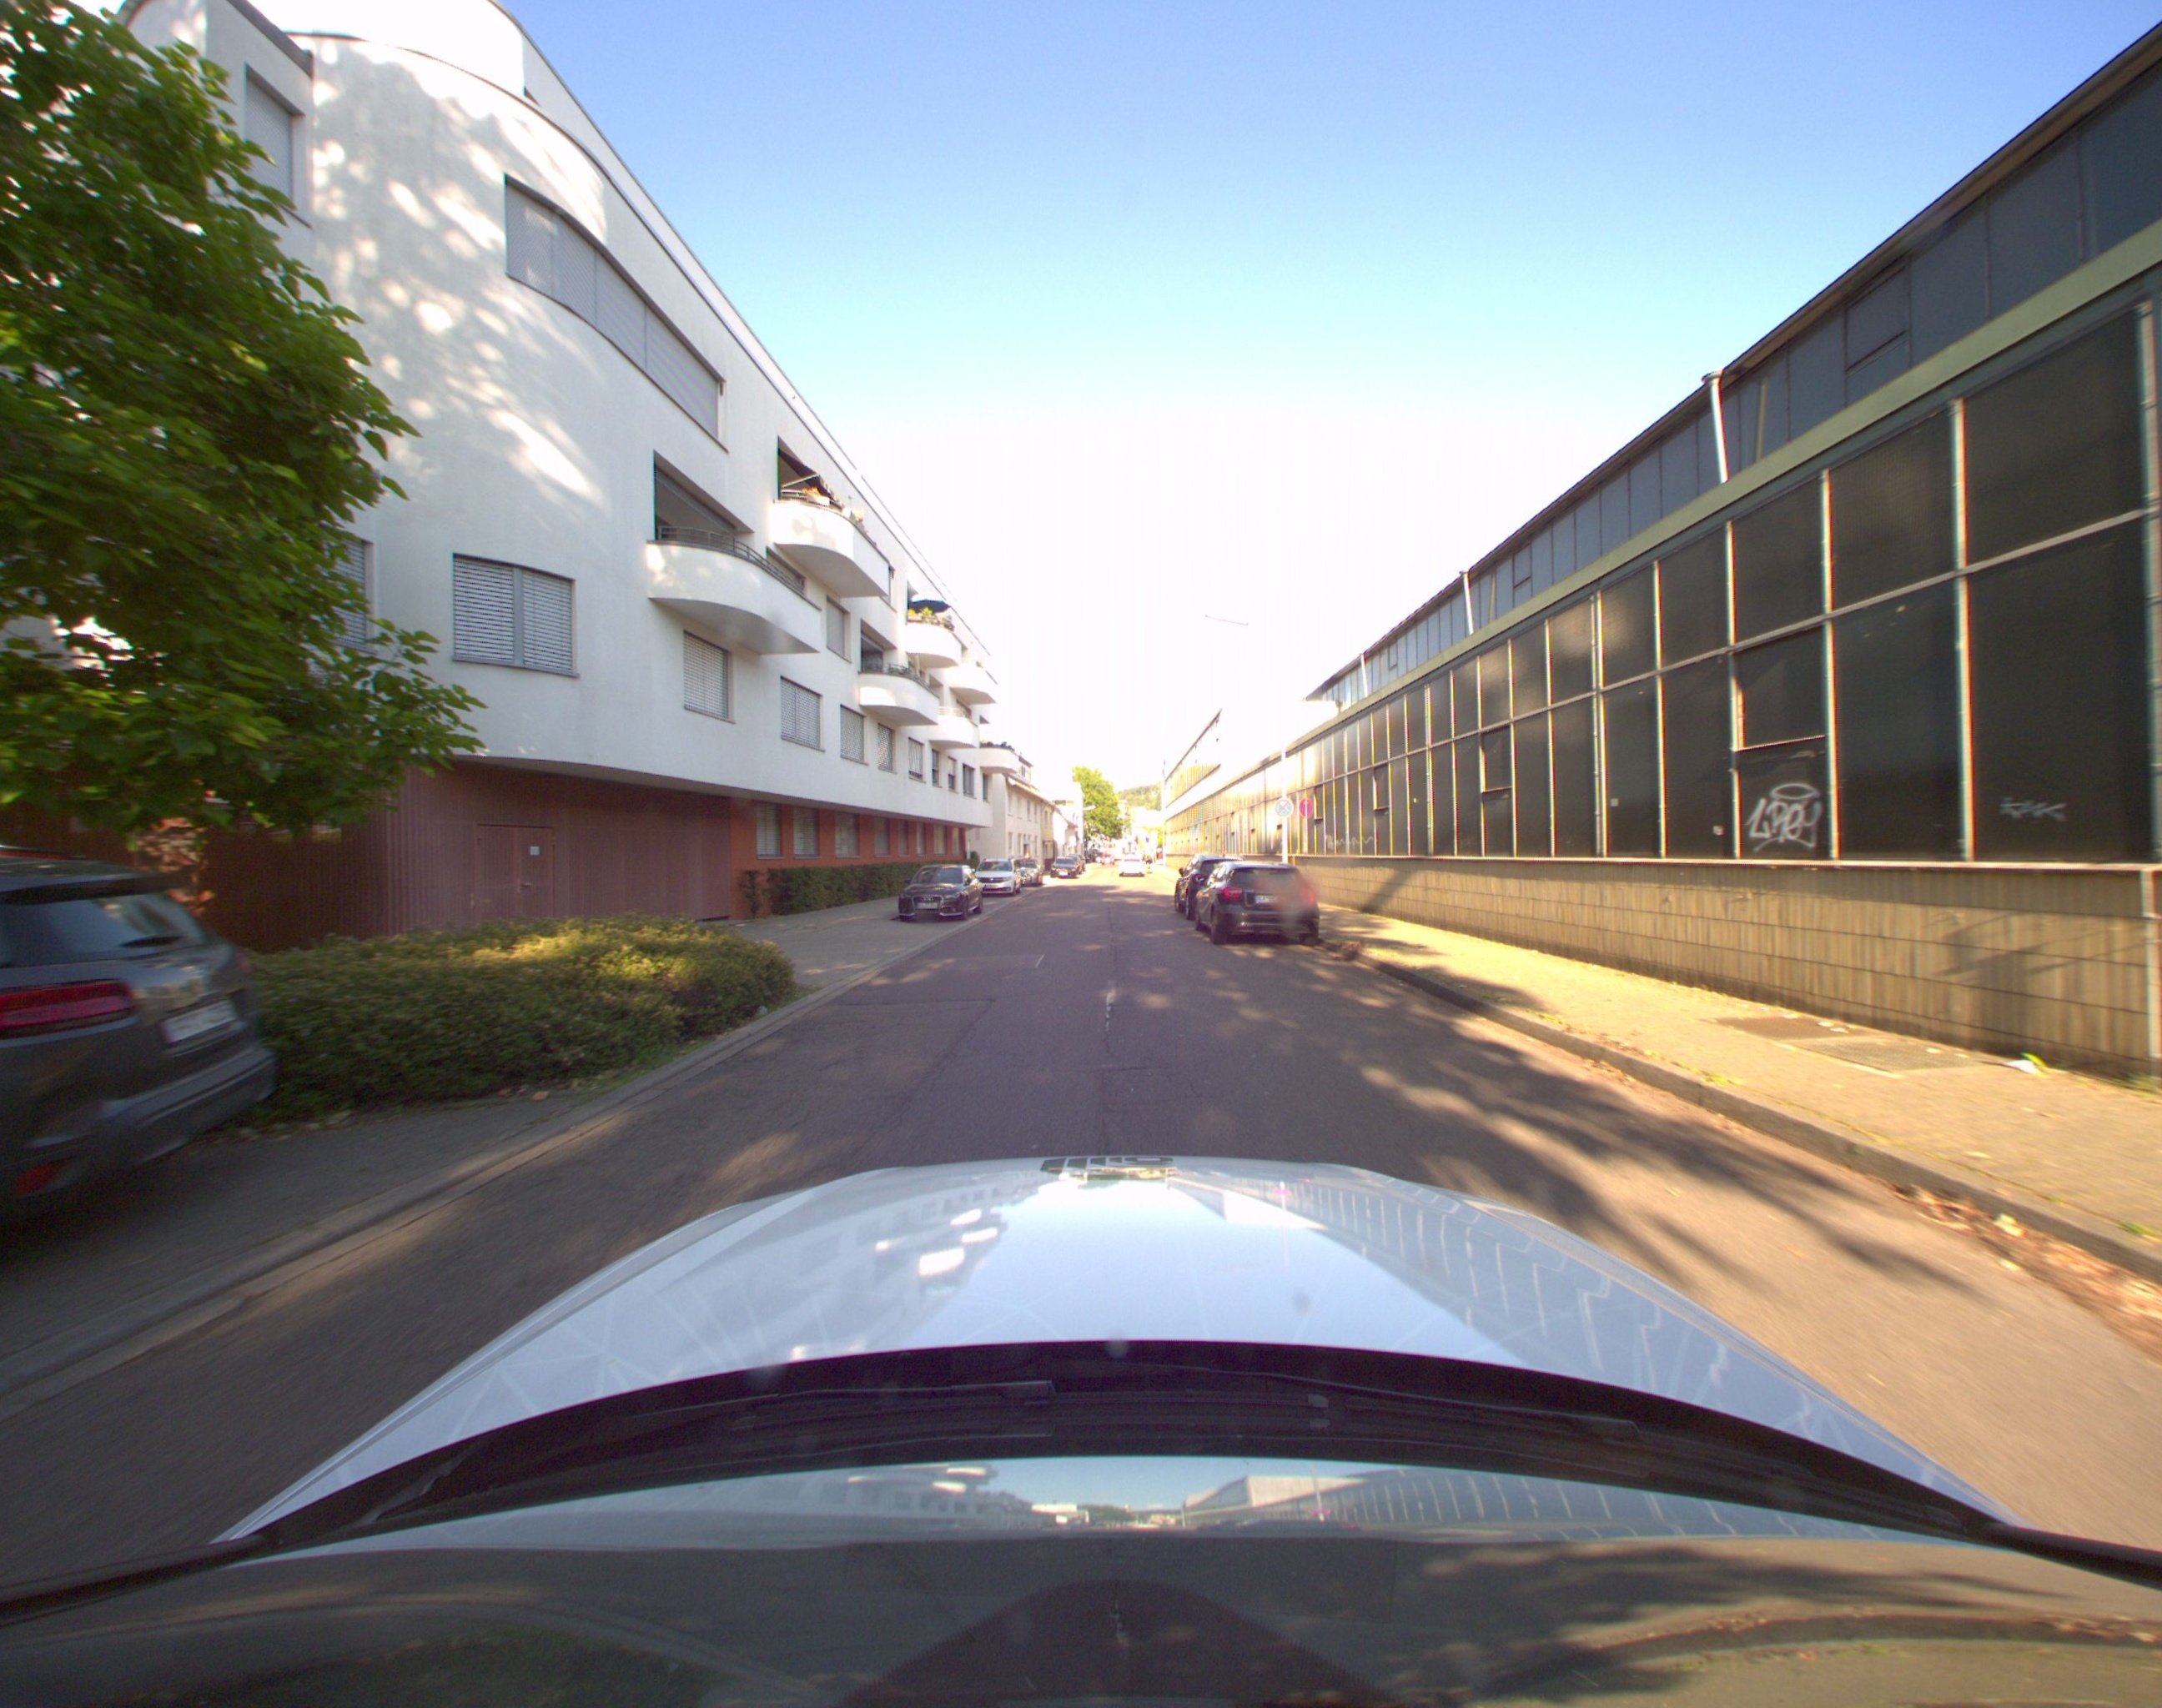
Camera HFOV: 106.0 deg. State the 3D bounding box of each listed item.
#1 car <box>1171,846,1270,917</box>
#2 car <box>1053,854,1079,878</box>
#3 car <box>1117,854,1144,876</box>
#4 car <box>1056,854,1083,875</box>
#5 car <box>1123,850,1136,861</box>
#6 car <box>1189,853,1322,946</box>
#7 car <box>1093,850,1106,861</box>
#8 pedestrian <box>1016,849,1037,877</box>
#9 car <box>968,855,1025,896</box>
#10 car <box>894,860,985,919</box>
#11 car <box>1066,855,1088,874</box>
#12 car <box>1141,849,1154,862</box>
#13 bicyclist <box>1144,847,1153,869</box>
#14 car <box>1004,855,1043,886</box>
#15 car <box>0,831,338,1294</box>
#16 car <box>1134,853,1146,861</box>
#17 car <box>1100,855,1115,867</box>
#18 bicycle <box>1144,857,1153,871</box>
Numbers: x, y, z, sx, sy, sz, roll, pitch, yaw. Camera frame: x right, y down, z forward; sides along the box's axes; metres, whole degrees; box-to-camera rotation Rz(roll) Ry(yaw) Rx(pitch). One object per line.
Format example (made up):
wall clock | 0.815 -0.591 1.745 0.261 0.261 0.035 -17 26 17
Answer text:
car | 3.432 0.641 20.808 1.801 1.587 4.405 1 0 1
car | -1.015 0.808 56.027 1.679 1.535 4.333 1 0 -1
car | 3.457 0.749 57.522 1.835 1.491 4.146 0 0 2
car | -0.908 0.832 66.445 1.849 1.587 4.340 1 1 4
car | 7.691 0.193 129.290 1.846 1.791 4.608 -1 0 1
car | 3.158 0.757 15.633 1.743 1.491 4.624 1 0 2
car | 2.963 0.244 129.758 1.844 1.791 4.613 -1 0 5
pedestrian | -3.674 0.596 54.825 0.853 1.818 1.138 2 1 26
car | -3.423 0.849 33.705 1.852 1.587 4.620 1 0 0
car | -3.686 0.875 21.810 1.668 1.433 3.771 1 0 1
car | -0.370 0.948 75.177 1.801 1.587 4.196 1 1 3
car | 9.187 0.232 112.327 1.623 1.587 4.072 -4 0 3
bicyclist | 5.477 0.310 65.815 0.695 1.790 1.042 0 -1 4
car | -2.990 0.832 43.036 1.661 1.536 3.859 1 0 2
car | -5.659 0.761 3.002 3.967 1.662 1.686 0 -1 -26
car | 10.841 0.495 149.842 1.831 1.491 4.154 -1 0 9
car | 3.476 0.935 105.952 1.835 1.491 4.147 0 0 3
bicycle | 5.490 0.778 65.909 0.695 1.130 2.405 0 0 4
